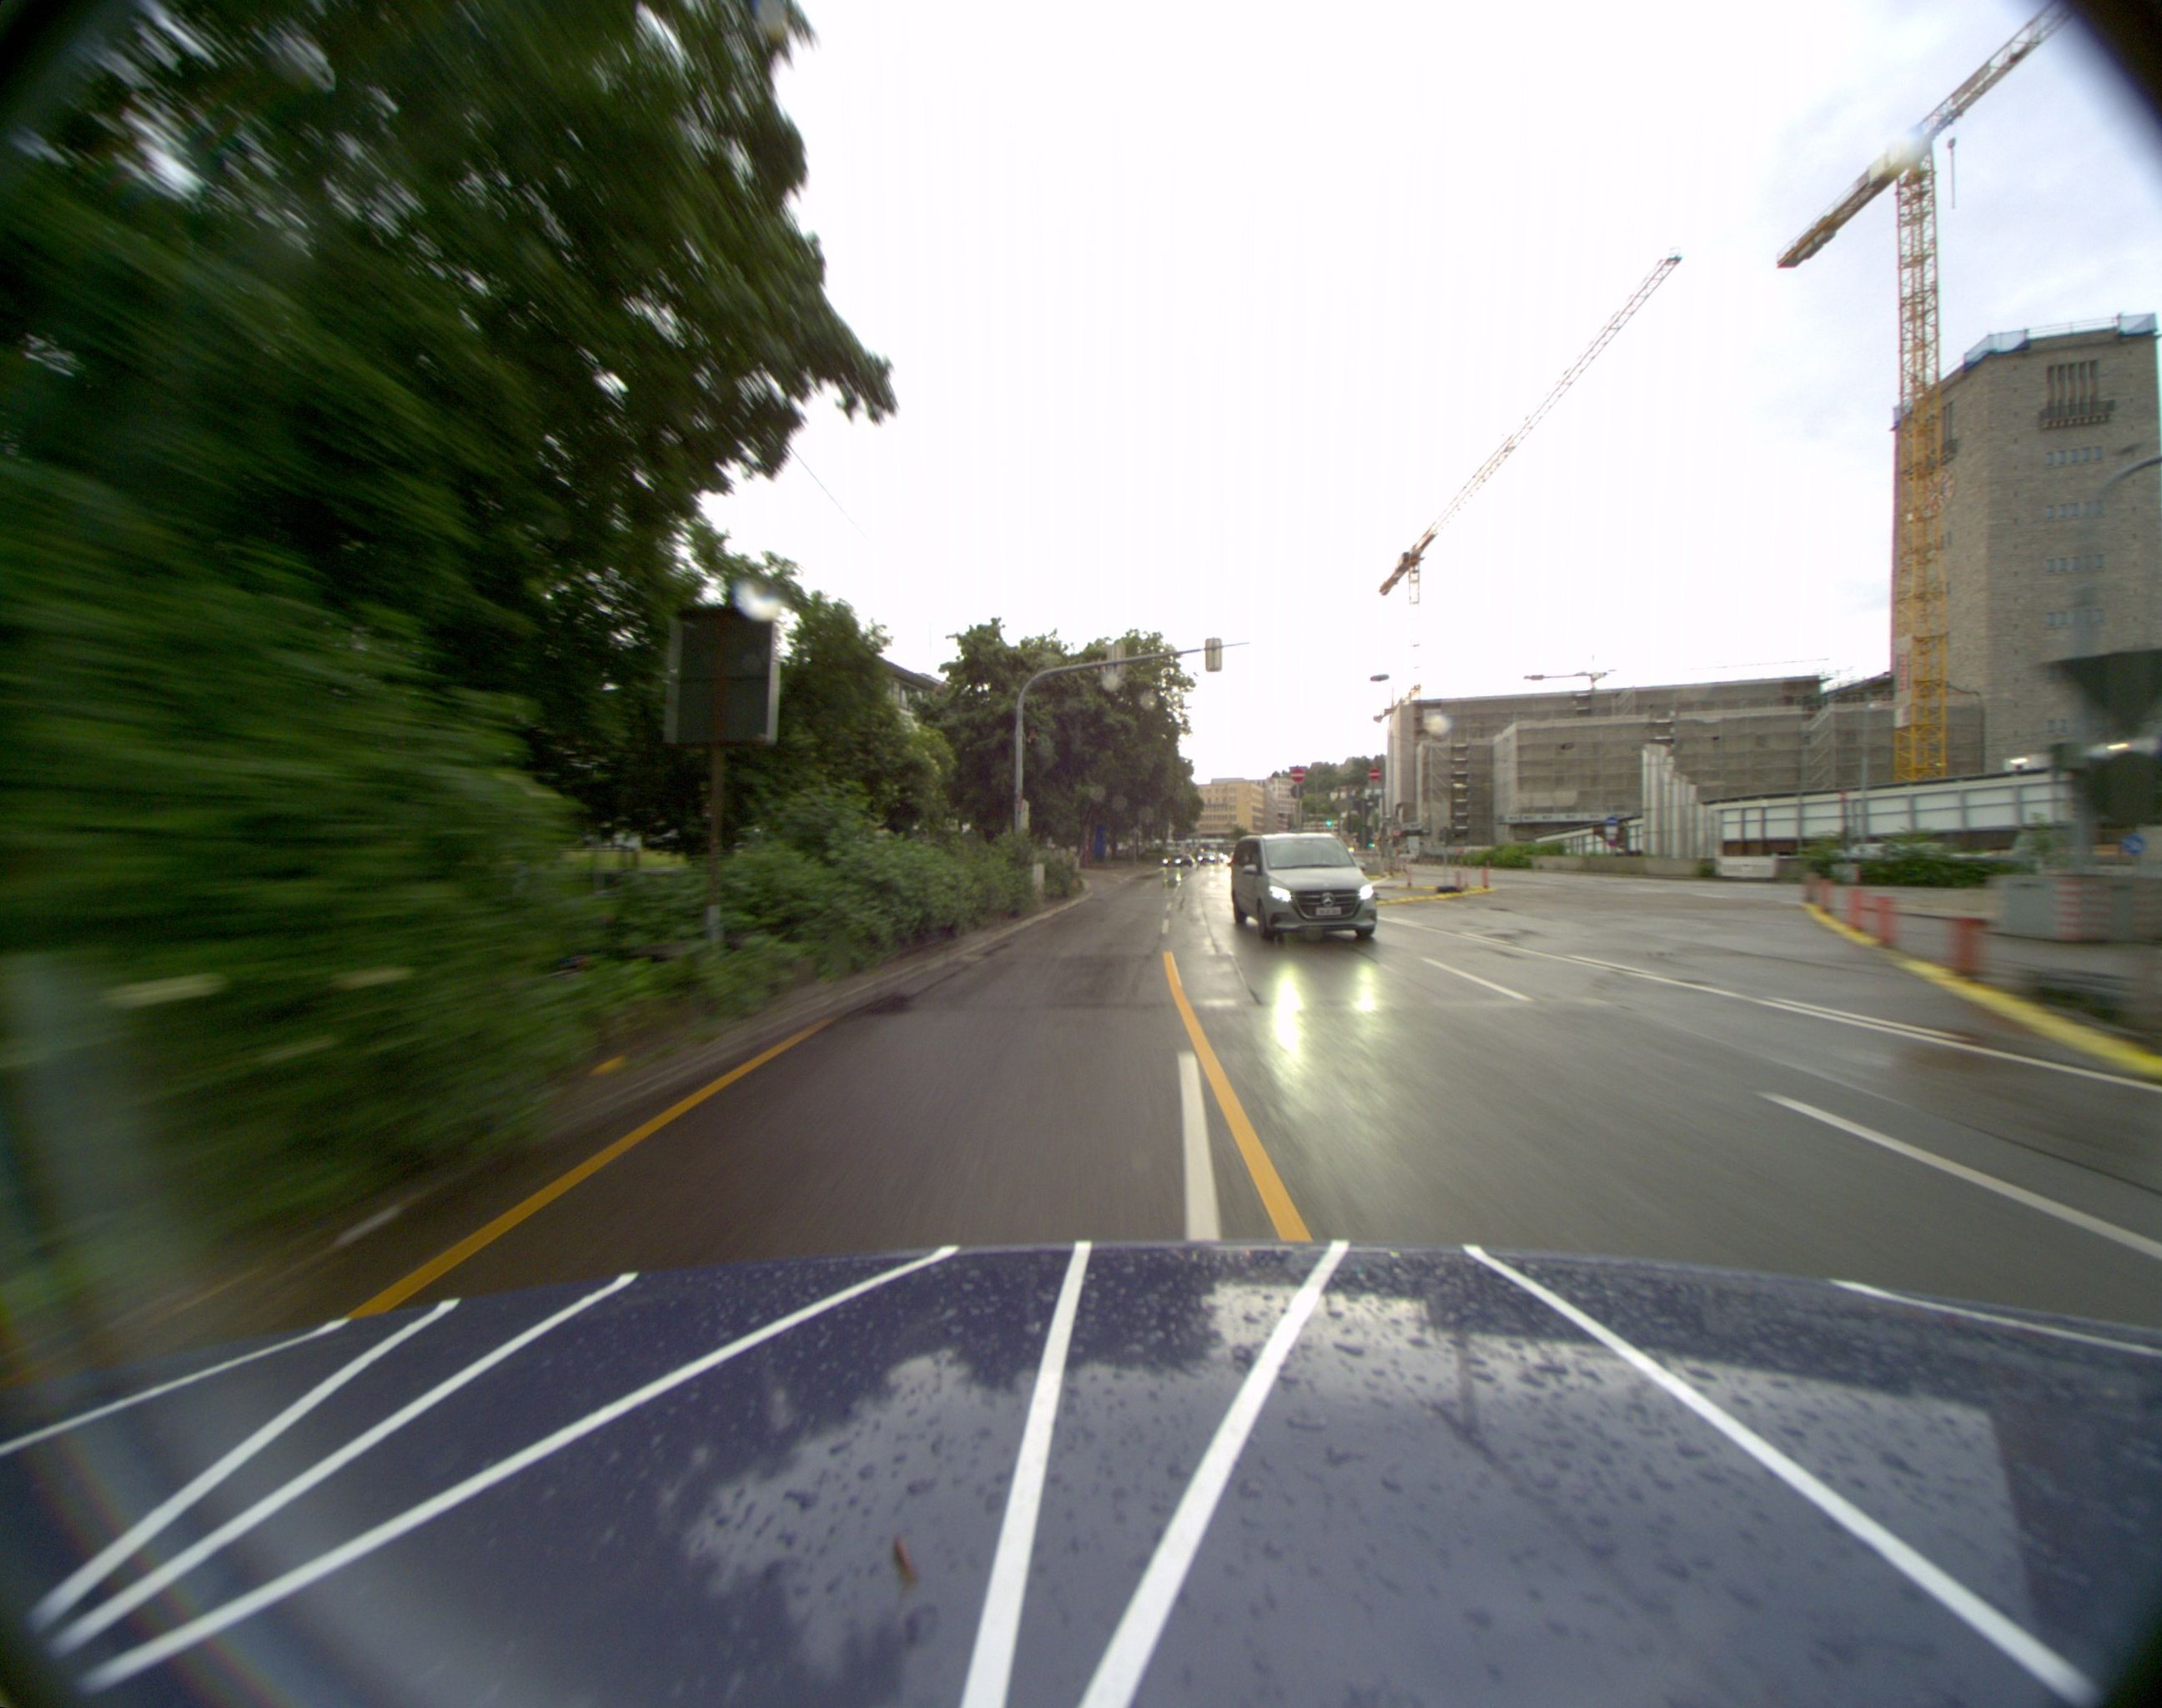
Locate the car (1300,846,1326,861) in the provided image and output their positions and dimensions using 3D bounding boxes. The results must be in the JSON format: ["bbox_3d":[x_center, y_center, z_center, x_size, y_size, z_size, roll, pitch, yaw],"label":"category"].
[{"bbox_3d":[24.388,-0.063,80.014,2.170,1.564,4.003,1,1,10],"label":"car"}]

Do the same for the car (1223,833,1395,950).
[{"bbox_3d":[4.183,0.623,14.946,1.998,1.845,5.359,-1,0,3],"label":"car"}]

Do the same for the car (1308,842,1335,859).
[{"bbox_3d":[23.268,-0.341,73.604,1.830,1.643,4.577,1,1,10],"label":"car"}]

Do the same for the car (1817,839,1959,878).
[{"bbox_3d":[44.461,0.227,42.027,2.003,2.002,5.015,0,0,-27],"label":"car"}]

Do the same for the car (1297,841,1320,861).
[{"bbox_3d":[25.744,-0.355,86.196,2.001,2.194,5.001,1,1,11],"label":"car"}]

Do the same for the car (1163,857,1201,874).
[{"bbox_3d":[11.009,1.195,82.763,4.008,1.753,1.994,0,1,-43],"label":"car"}]

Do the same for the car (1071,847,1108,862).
[{"bbox_3d":[0.855,0.010,78.010,1.705,1.447,3.988,0,1,-37],"label":"car"}]
